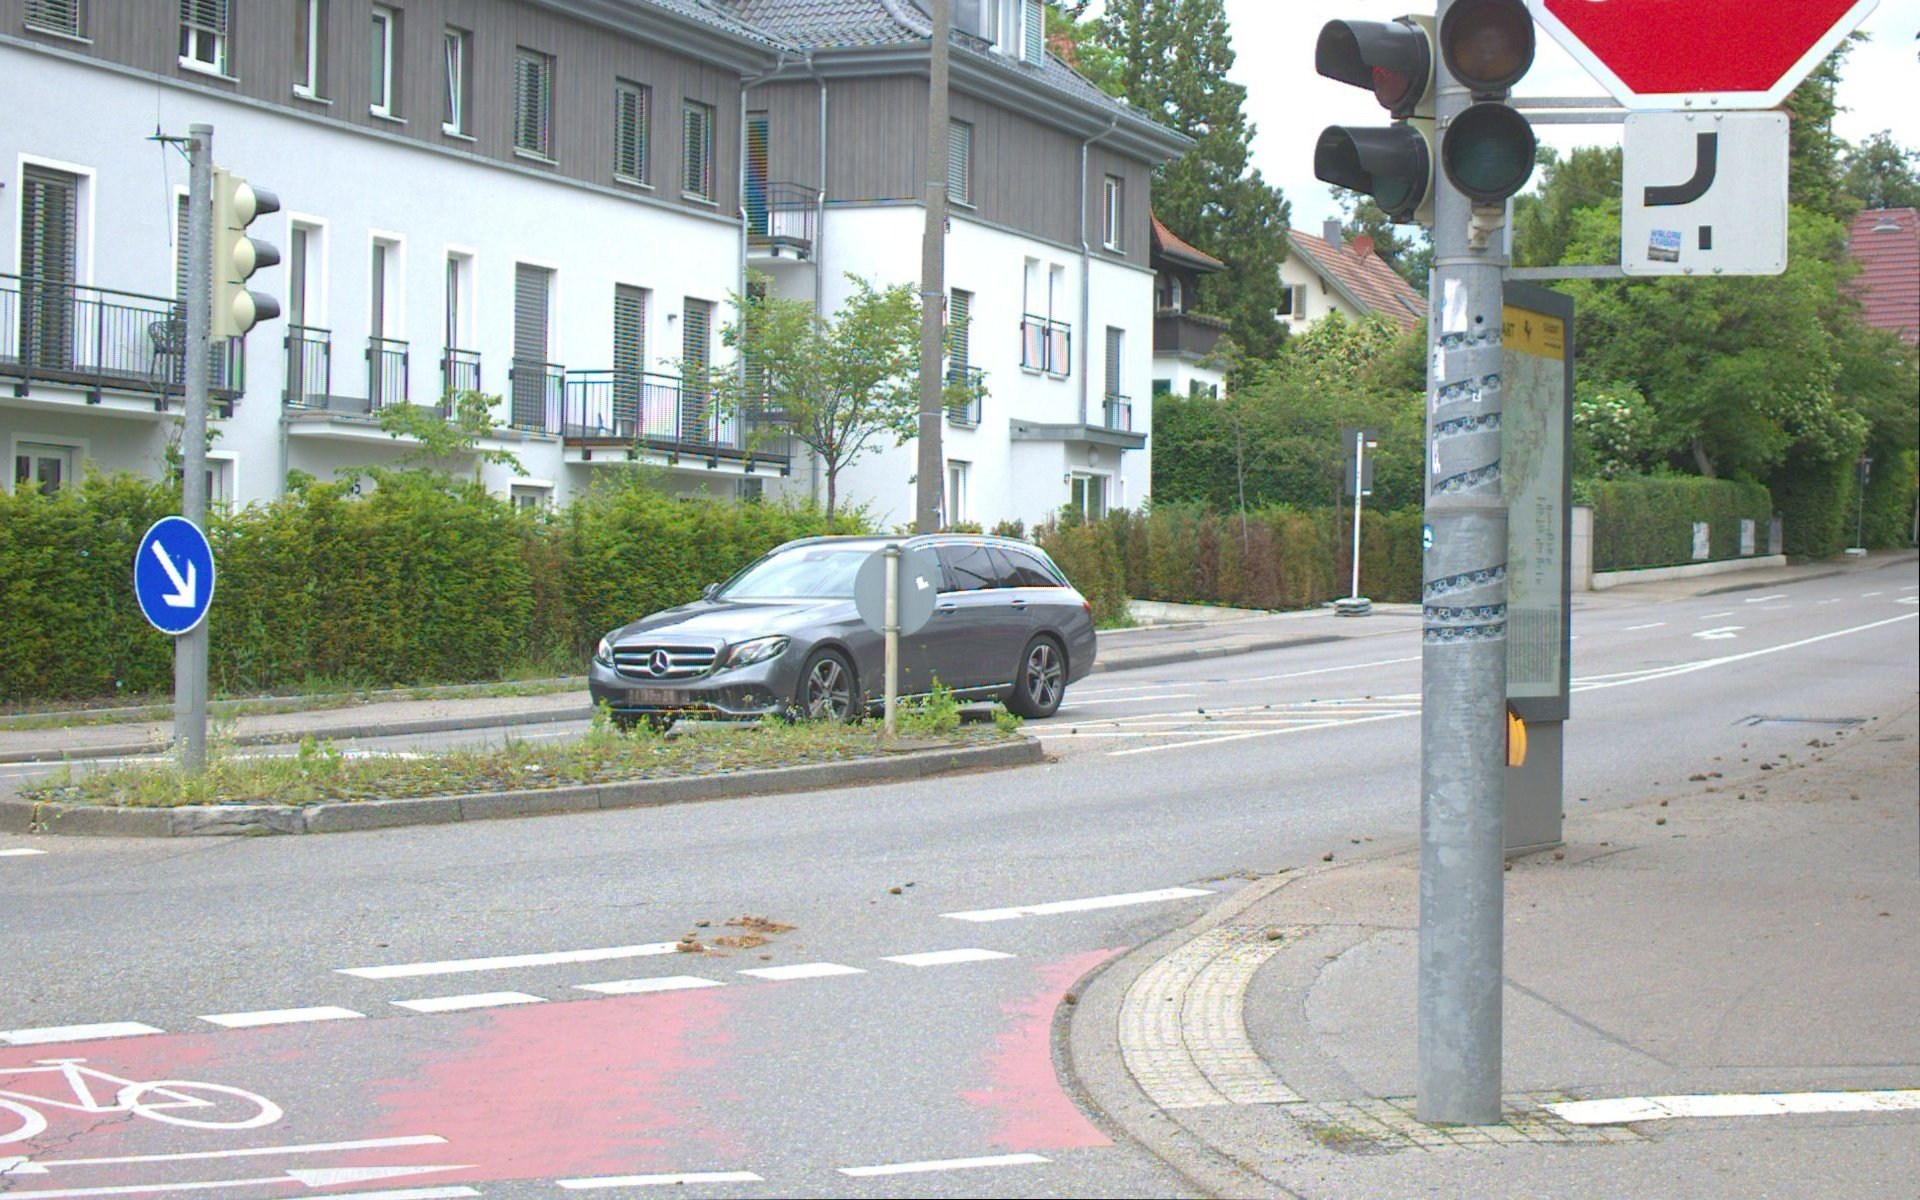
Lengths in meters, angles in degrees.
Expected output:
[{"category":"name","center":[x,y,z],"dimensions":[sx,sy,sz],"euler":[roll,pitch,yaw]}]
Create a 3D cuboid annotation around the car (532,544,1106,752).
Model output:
[{"category":"car","center":[-0.961,0.290,26.273],"dimensions":[1.942,1.399,4.733],"euler":[1,2,34]}]
